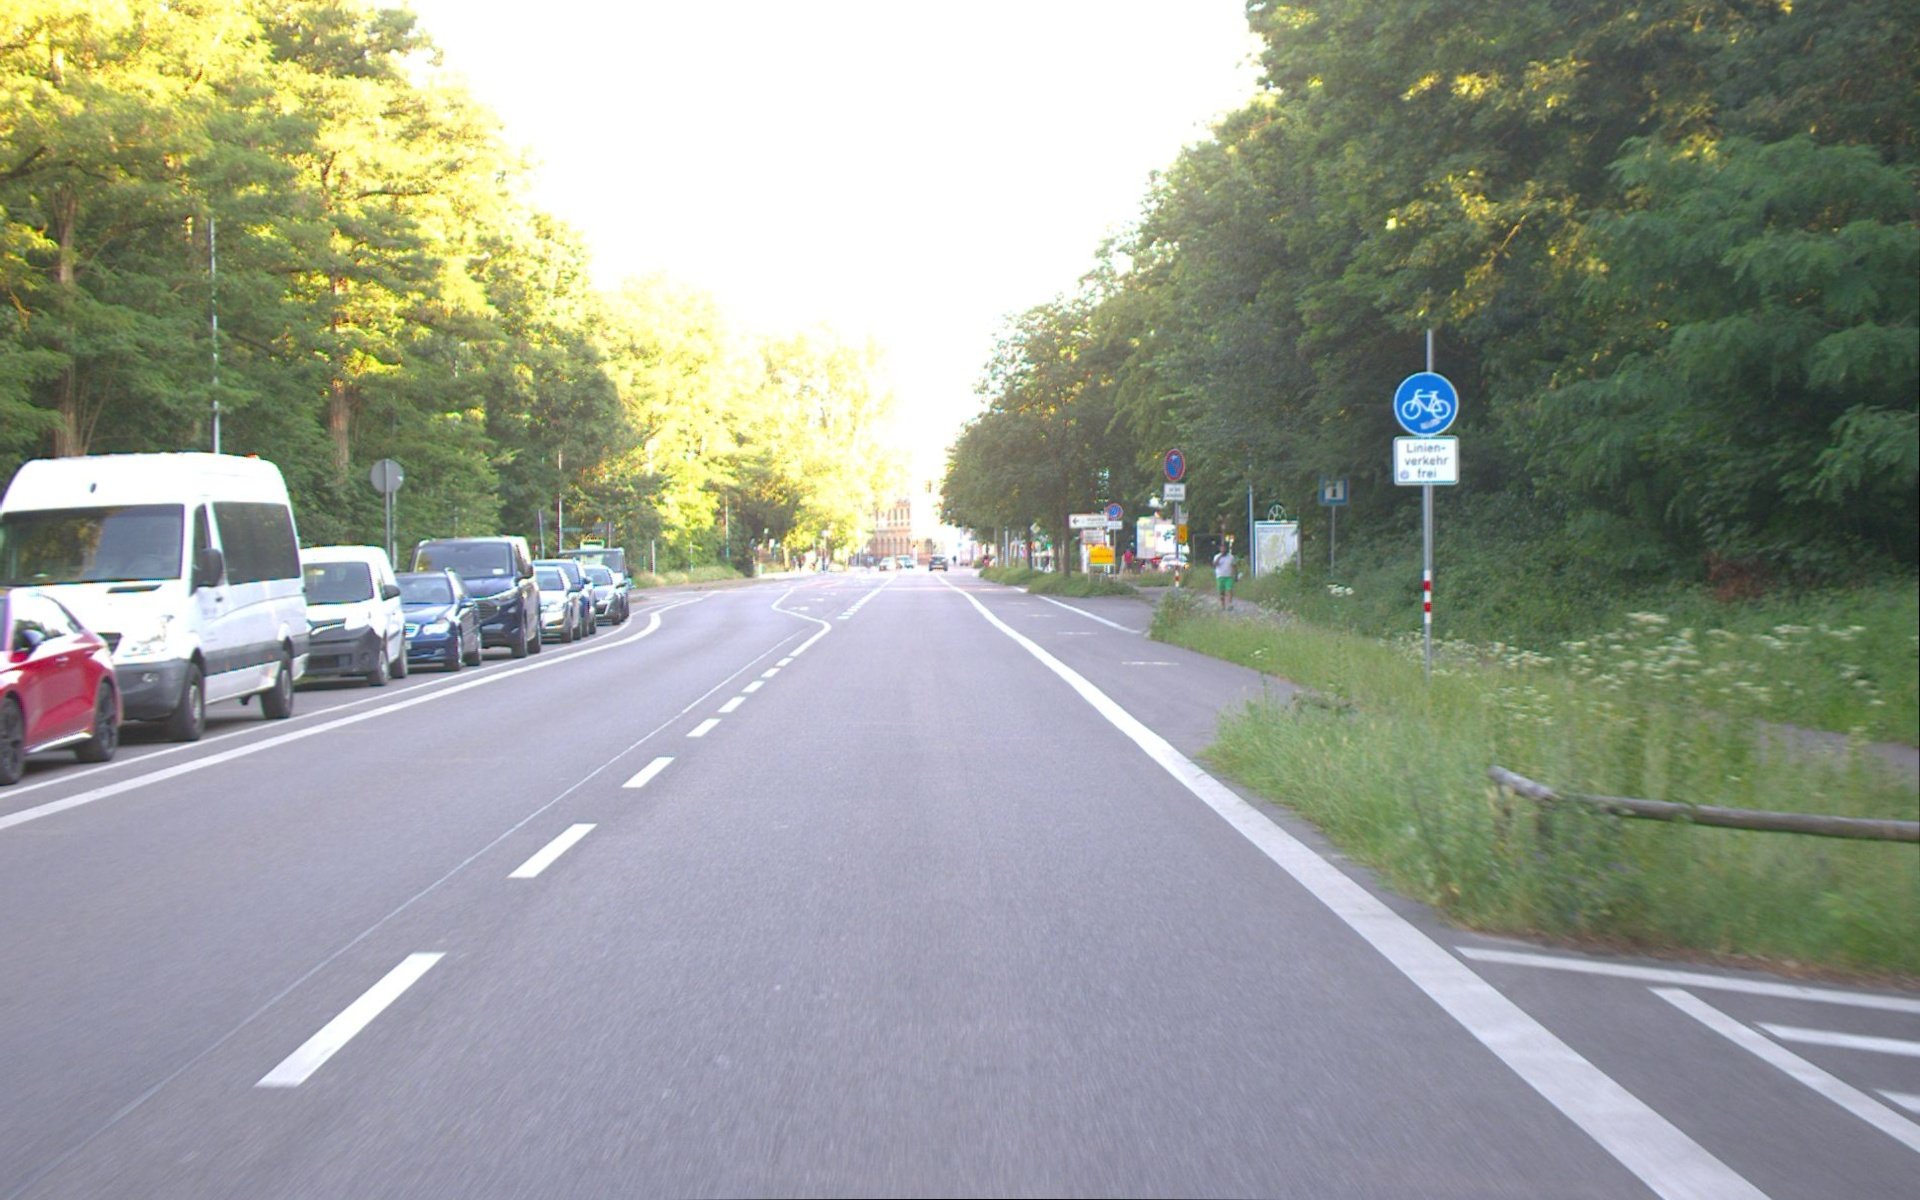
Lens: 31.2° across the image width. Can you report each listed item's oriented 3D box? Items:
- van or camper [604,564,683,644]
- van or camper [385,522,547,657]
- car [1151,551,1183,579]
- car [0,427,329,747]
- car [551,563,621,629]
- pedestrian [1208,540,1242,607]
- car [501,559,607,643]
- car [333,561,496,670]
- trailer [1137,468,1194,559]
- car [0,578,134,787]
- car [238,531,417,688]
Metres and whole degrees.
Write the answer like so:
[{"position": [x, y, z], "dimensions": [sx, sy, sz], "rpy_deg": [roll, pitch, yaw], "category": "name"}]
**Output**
[{"position": [-8.847, 0.083, 96.375], "dimensions": [2.031, 2.087, 5.015], "rpy_deg": [-2, 1, -4], "category": "van or camper"}, {"position": [-8.044, -0.205, 56.448], "dimensions": [2.002, 2.011, 5.462], "rpy_deg": [-3, 1, -3], "category": "van or camper"}, {"position": [11.860, -2.008, 197.316], "dimensions": [1.770, 1.578, 4.818], "rpy_deg": [1, 0, 3], "category": "car"}, {"position": [-7.660, -0.144, 32.391], "dimensions": [2.079, 2.597, 7.089], "rpy_deg": [-3, 1, -1], "category": "car"}, {"position": [-9.227, -0.118, 85.041], "dimensions": [1.616, 1.529, 4.041], "rpy_deg": [-2, 1, -6], "category": "car"}, {"position": [6.973, -0.705, 90.650], "dimensions": [0.838, 1.745, 0.726], "rpy_deg": [0, 0, 0], "category": "pedestrian"}, {"position": [-7.792, -0.009, 66.317], "dimensions": [1.668, 1.496, 4.247], "rpy_deg": [-2, 1, -2], "category": "car"}, {"position": [-7.882, 0.189, 49.995], "dimensions": [1.669, 1.428, 4.447], "rpy_deg": [-2, 1, -1], "category": "car"}, {"position": [12.509, -5.222, 210.137], "dimensions": [3.020, 5.443, 7.934], "rpy_deg": [0, 1, 0], "category": "trailer"}, {"position": [-7.532, 0.591, 25.430], "dimensions": [1.716, 1.425, 4.388], "rpy_deg": [-2, 1, 1], "category": "car"}, {"position": [-8.159, 0.093, 44.672], "dimensions": [1.687, 1.852, 4.388], "rpy_deg": [-3, 1, -3], "category": "car"}]
